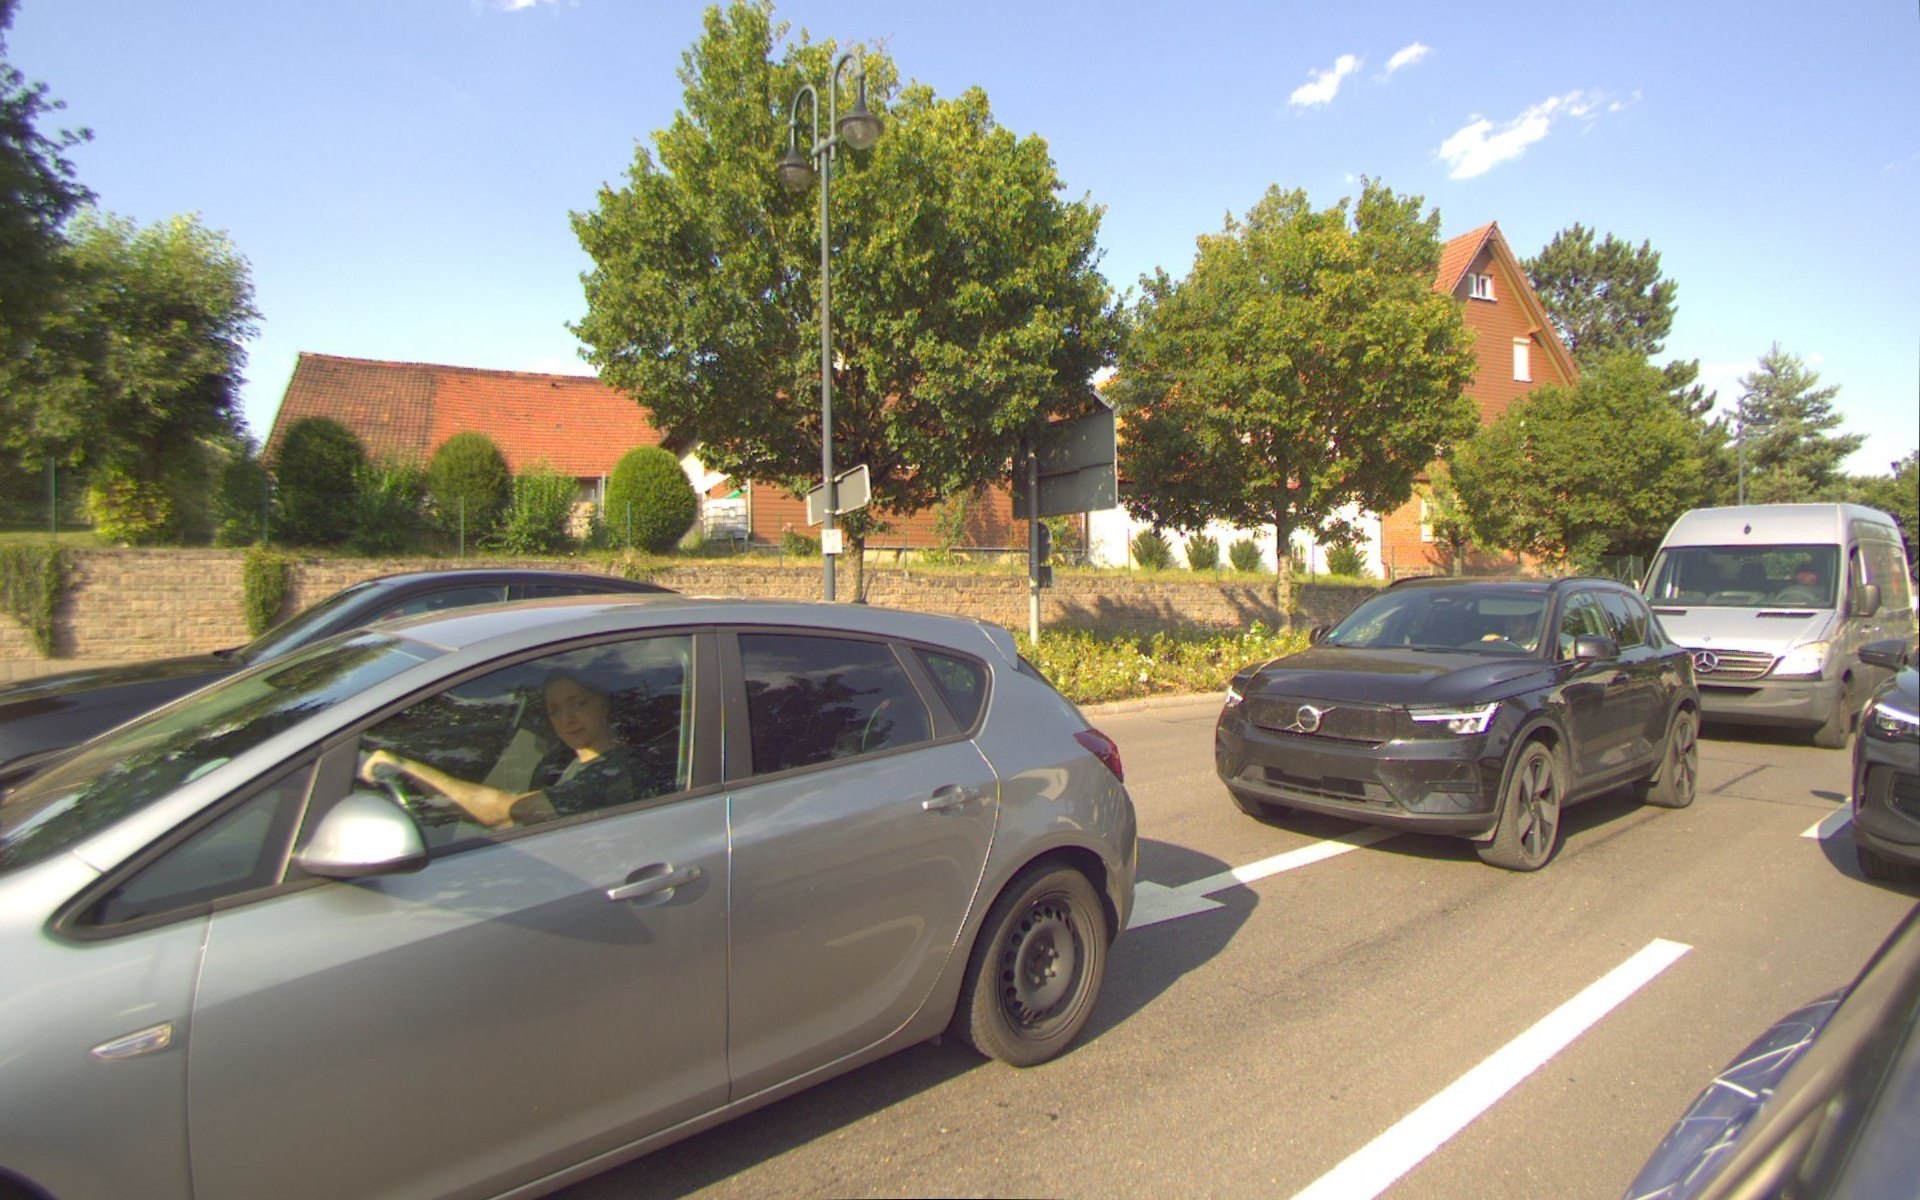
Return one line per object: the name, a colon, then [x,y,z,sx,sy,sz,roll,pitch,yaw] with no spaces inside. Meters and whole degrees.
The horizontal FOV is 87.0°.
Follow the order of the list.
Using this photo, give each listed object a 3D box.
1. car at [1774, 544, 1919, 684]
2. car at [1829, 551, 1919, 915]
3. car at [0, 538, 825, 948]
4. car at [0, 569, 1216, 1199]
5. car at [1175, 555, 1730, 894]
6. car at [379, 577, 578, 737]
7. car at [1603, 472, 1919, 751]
car: [15.195,0.176,16.780,4.242,2.055,1.844,0,2,-40]
car: [6.320,0.606,5.425,4.242,1.629,1.844,0,2,-40]
car: [-3.142,0.533,5.799,4.488,1.628,1.764,0,2,-42]
car: [-1.247,0.671,2.896,4.244,1.471,1.764,0,2,-42]
car: [3.553,0.561,6.937,4.242,1.629,1.844,0,2,-40]
car: [-5.763,0.531,11.826,1.743,1.510,4.156,0,0,-31]
car: [9.886,0.065,12.101,5.938,2.601,1.992,0,1,-40]
